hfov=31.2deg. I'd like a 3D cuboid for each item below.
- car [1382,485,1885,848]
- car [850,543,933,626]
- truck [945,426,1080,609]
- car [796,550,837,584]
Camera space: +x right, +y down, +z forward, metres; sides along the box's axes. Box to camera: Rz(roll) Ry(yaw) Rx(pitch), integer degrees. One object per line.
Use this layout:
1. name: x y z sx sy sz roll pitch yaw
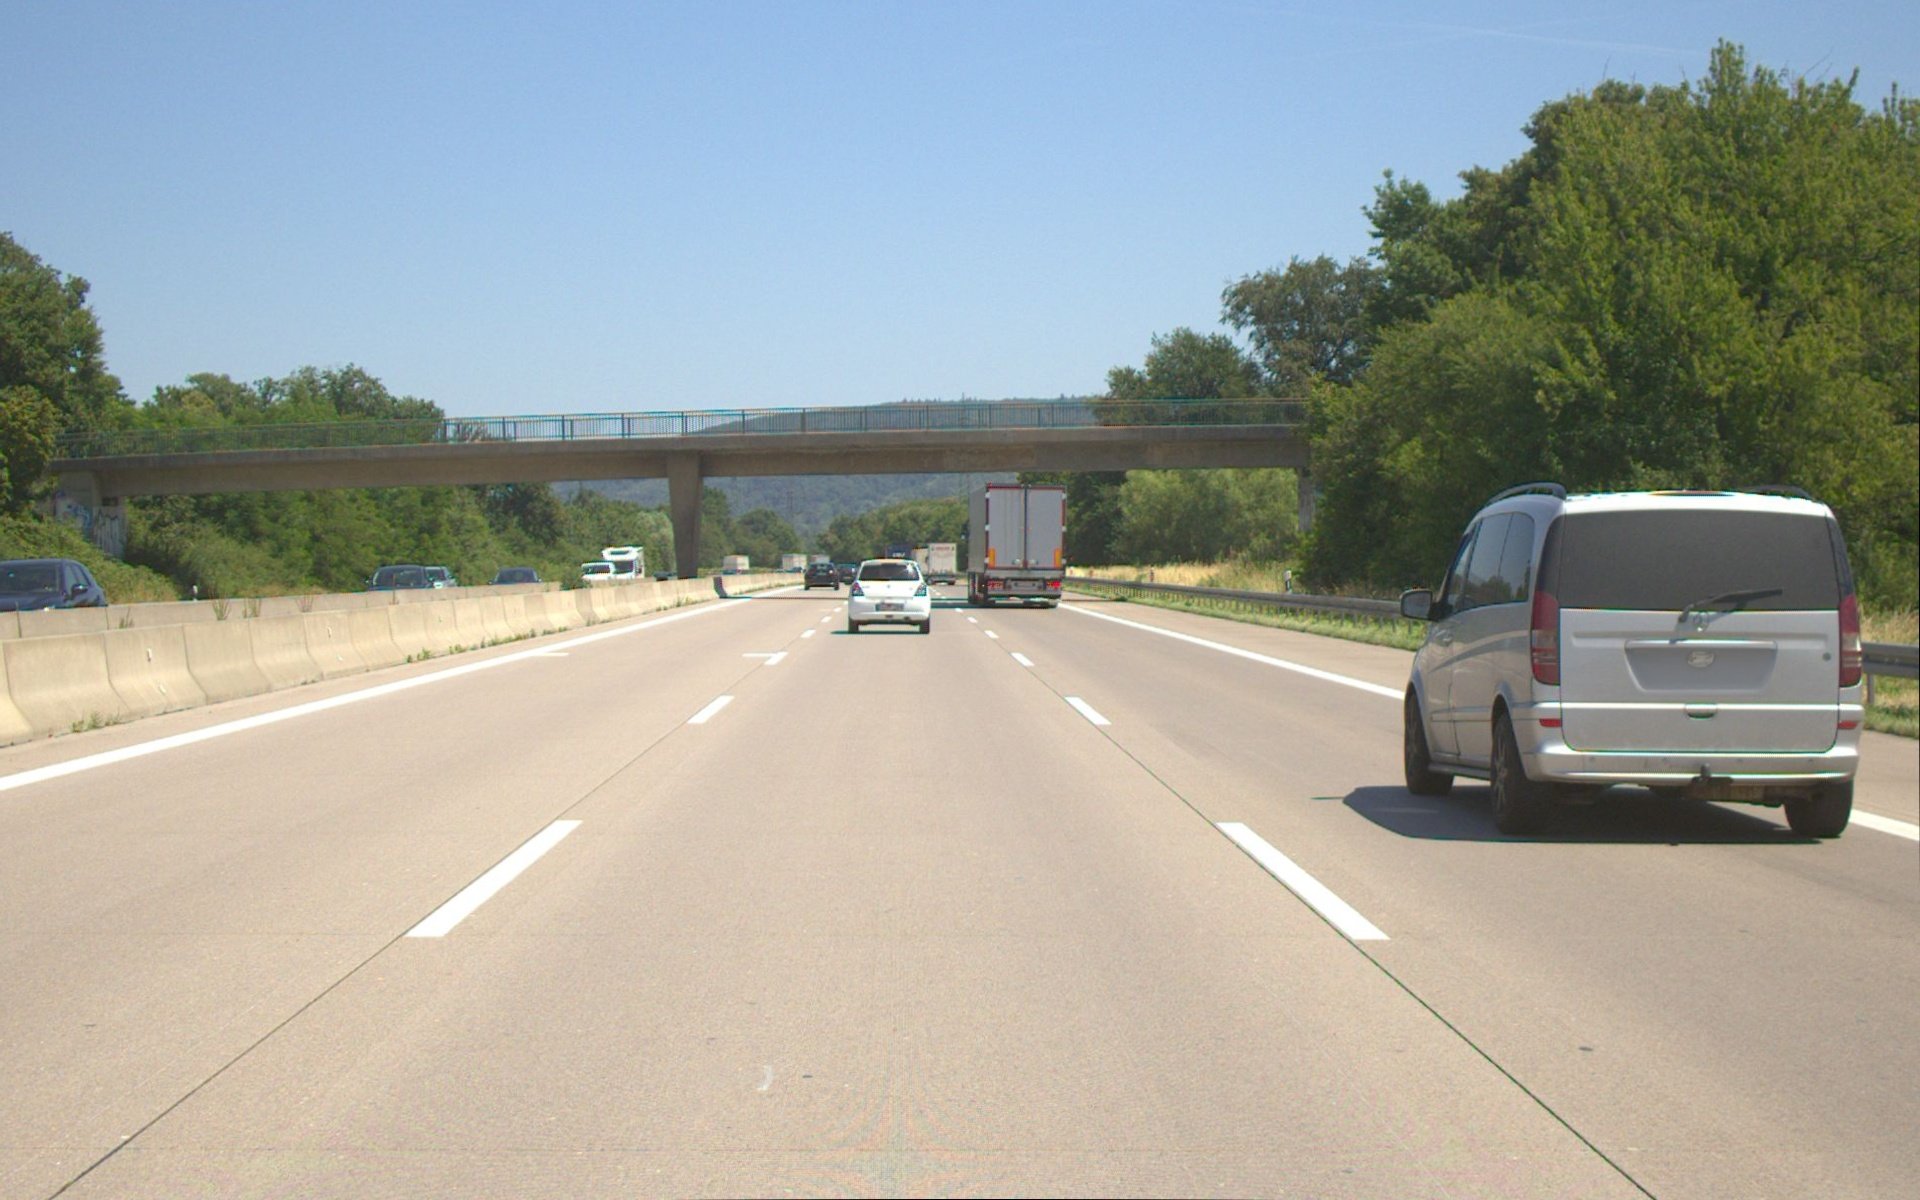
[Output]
1. car: 3.827 0.305 20.525 1.879 1.882 5.280 0 1 -1
2. car: -1.415 -0.328 71.074 1.641 1.656 3.360 1 1 -1
3. truck: 1.612 -2.724 117.780 3.577 5.767 18.249 0 1 -2
4. car: -7.463 -1.733 178.378 2.022 1.695 4.001 1 0 -4
